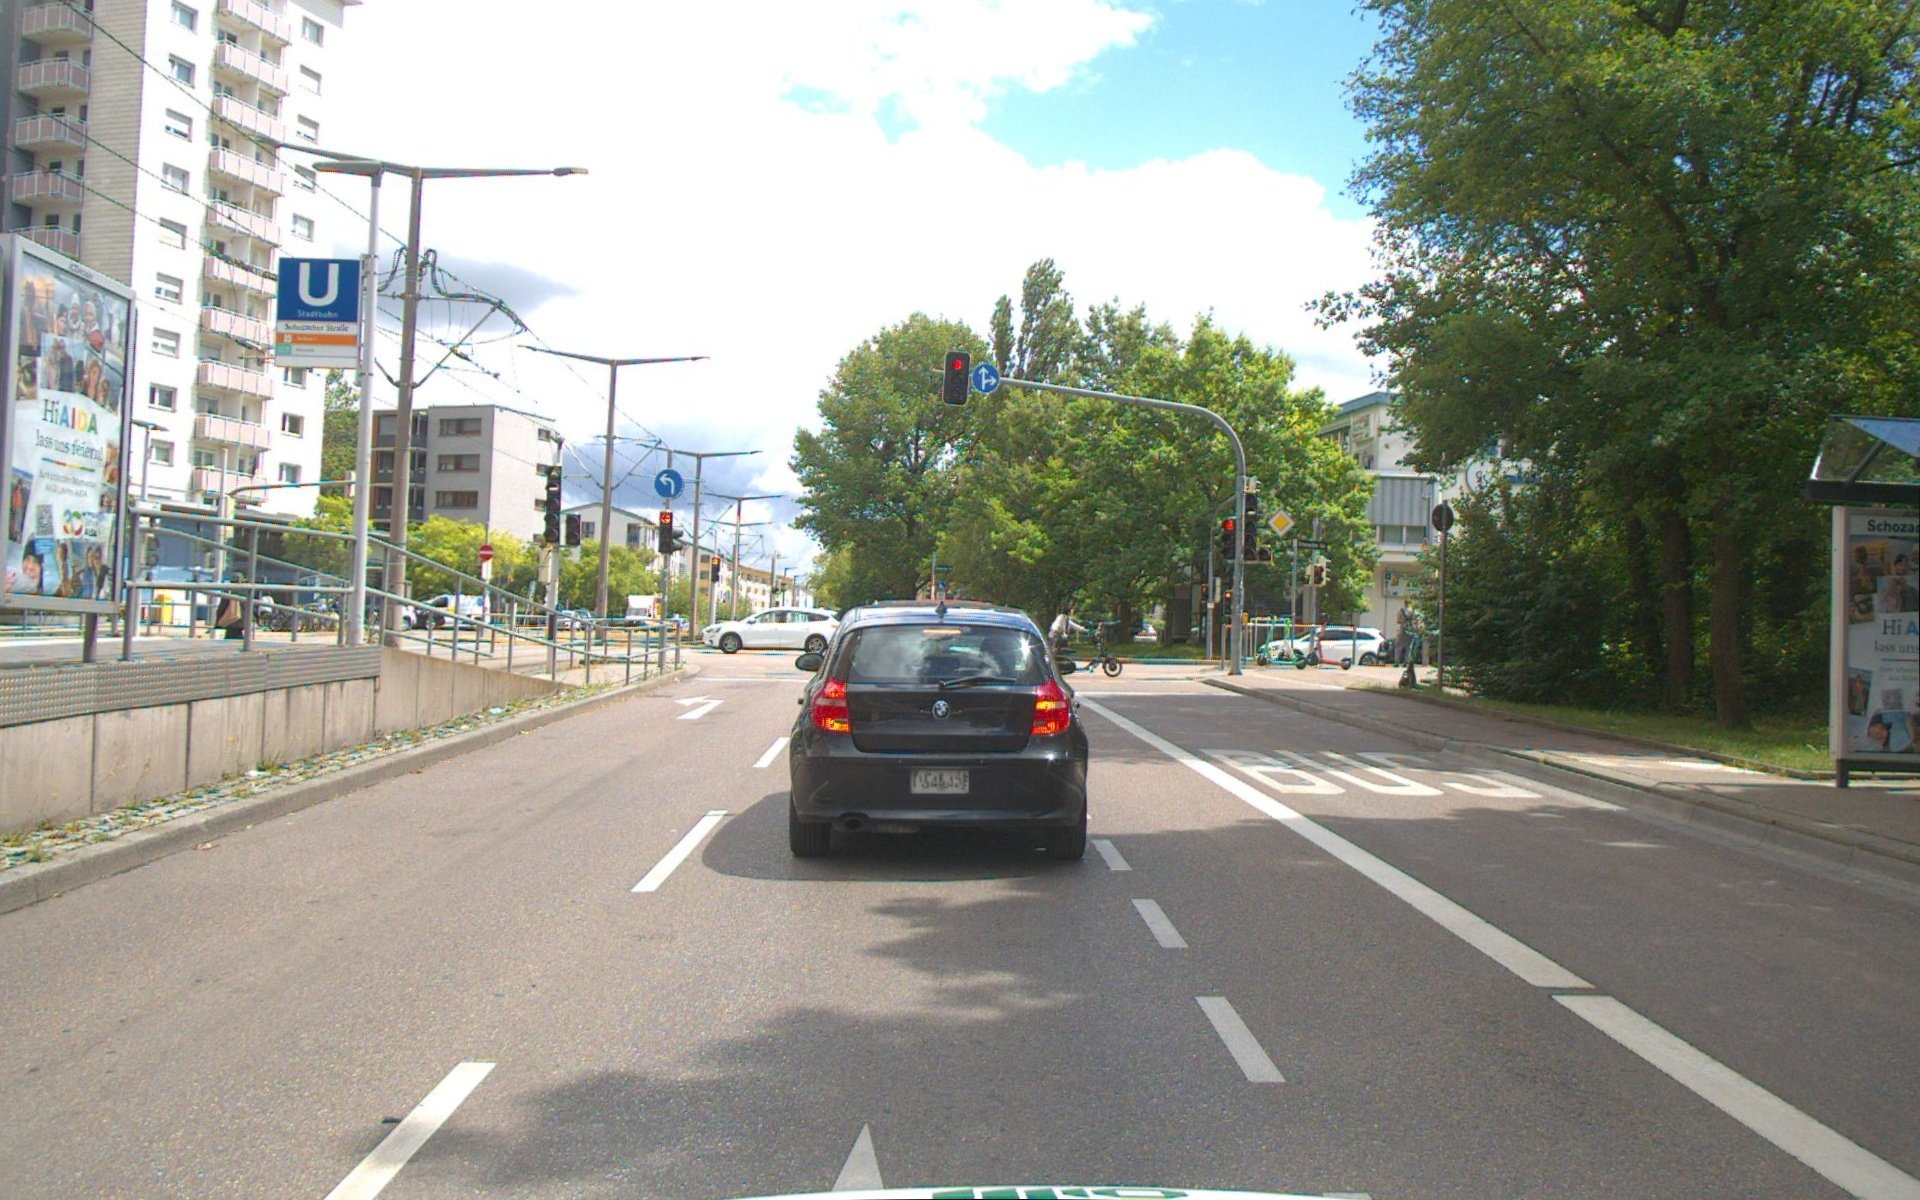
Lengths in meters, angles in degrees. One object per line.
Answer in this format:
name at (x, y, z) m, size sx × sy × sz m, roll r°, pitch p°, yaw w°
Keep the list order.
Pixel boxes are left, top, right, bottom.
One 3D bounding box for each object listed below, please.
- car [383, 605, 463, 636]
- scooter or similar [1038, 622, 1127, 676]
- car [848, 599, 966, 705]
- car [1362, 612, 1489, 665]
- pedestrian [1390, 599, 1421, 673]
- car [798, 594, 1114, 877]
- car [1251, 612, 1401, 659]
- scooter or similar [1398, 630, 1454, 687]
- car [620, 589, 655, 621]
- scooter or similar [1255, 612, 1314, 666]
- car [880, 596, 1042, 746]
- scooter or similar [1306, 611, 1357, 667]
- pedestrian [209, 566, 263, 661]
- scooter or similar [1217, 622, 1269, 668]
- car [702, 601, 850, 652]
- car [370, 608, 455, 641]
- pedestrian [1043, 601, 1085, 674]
car at (-26.620, 0.994, 82.012) m, size 3.537 × 1.488 × 1.613 m, roll 1°, pitch 0°, yaw -9°
scooter or similar at (2.477, 0.989, 33.533) m, size 1.747 × 1.069 × 0.410 m, roll 1°, pitch 0°, yaw -8°
car at (-0.806, 0.726, 24.835) m, size 1.621 × 1.443 × 3.515 m, roll 1°, pitch 0°, yaw -2°
car at (14.824, 1.226, 52.699) m, size 3.515 × 1.629 × 1.706 m, roll 1°, pitch -1°, yaw -13°
pedestrian at (11.346, 0.917, 42.135) m, size 0.600 × 1.821 × 0.569 m, roll 4°, pitch 0°, yaw 17°
car at (0.005, 0.702, 10.358) m, size 1.620 × 1.443 × 3.517 m, roll 1°, pitch 0°, yaw 1°
car at (12.288, 1.190, 55.699) m, size 4.551 × 1.506 × 1.997 m, roll 1°, pitch 0°, yaw -8°
scooter or similar at (9.289, 1.171, 32.965) m, size 1.133 × 1.118 × 0.329 m, roll 1°, pitch 0°, yaw -25°
car at (-27.856, 0.429, 142.983) m, size 2.096 × 2.686 × 5.356 m, roll 1°, pitch 0°, yaw -2°
scooter or similar at (7.313, 0.872, 37.312) m, size 1.267 × 1.210 × 0.383 m, roll 1°, pitch 0°, yaw -17°
car at (0.005, 0.696, 17.970) m, size 1.562 × 1.443 × 3.516 m, roll 1°, pitch 0°, yaw 0°
scooter or similar at (8.571, 0.890, 38.163) m, size 1.087 × 1.280 × 0.331 m, roll 1°, pitch 0°, yaw -13°
pedestrian at (-12.907, 0.236, 29.497) m, size 0.686 × 1.661 × 0.638 m, roll 0°, pitch 0°, yaw -1°
scooter or similar at (6.168, 0.980, 36.081) m, size 1.102 × 0.974 × 0.299 m, roll 1°, pitch 0°, yaw -17°
car at (-5.842, 0.829, 52.296) m, size 4.491 × 1.553 × 1.939 m, roll 1°, pitch 0°, yaw -12°
car at (-25.738, 1.169, 77.810) m, size 3.537 × 1.488 × 1.613 m, roll 1°, pitch -1°, yaw -9°
pedestrian at (2.132, 0.762, 33.966) m, size 0.847 × 1.468 × 0.799 m, roll 1°, pitch 0°, yaw 2°
